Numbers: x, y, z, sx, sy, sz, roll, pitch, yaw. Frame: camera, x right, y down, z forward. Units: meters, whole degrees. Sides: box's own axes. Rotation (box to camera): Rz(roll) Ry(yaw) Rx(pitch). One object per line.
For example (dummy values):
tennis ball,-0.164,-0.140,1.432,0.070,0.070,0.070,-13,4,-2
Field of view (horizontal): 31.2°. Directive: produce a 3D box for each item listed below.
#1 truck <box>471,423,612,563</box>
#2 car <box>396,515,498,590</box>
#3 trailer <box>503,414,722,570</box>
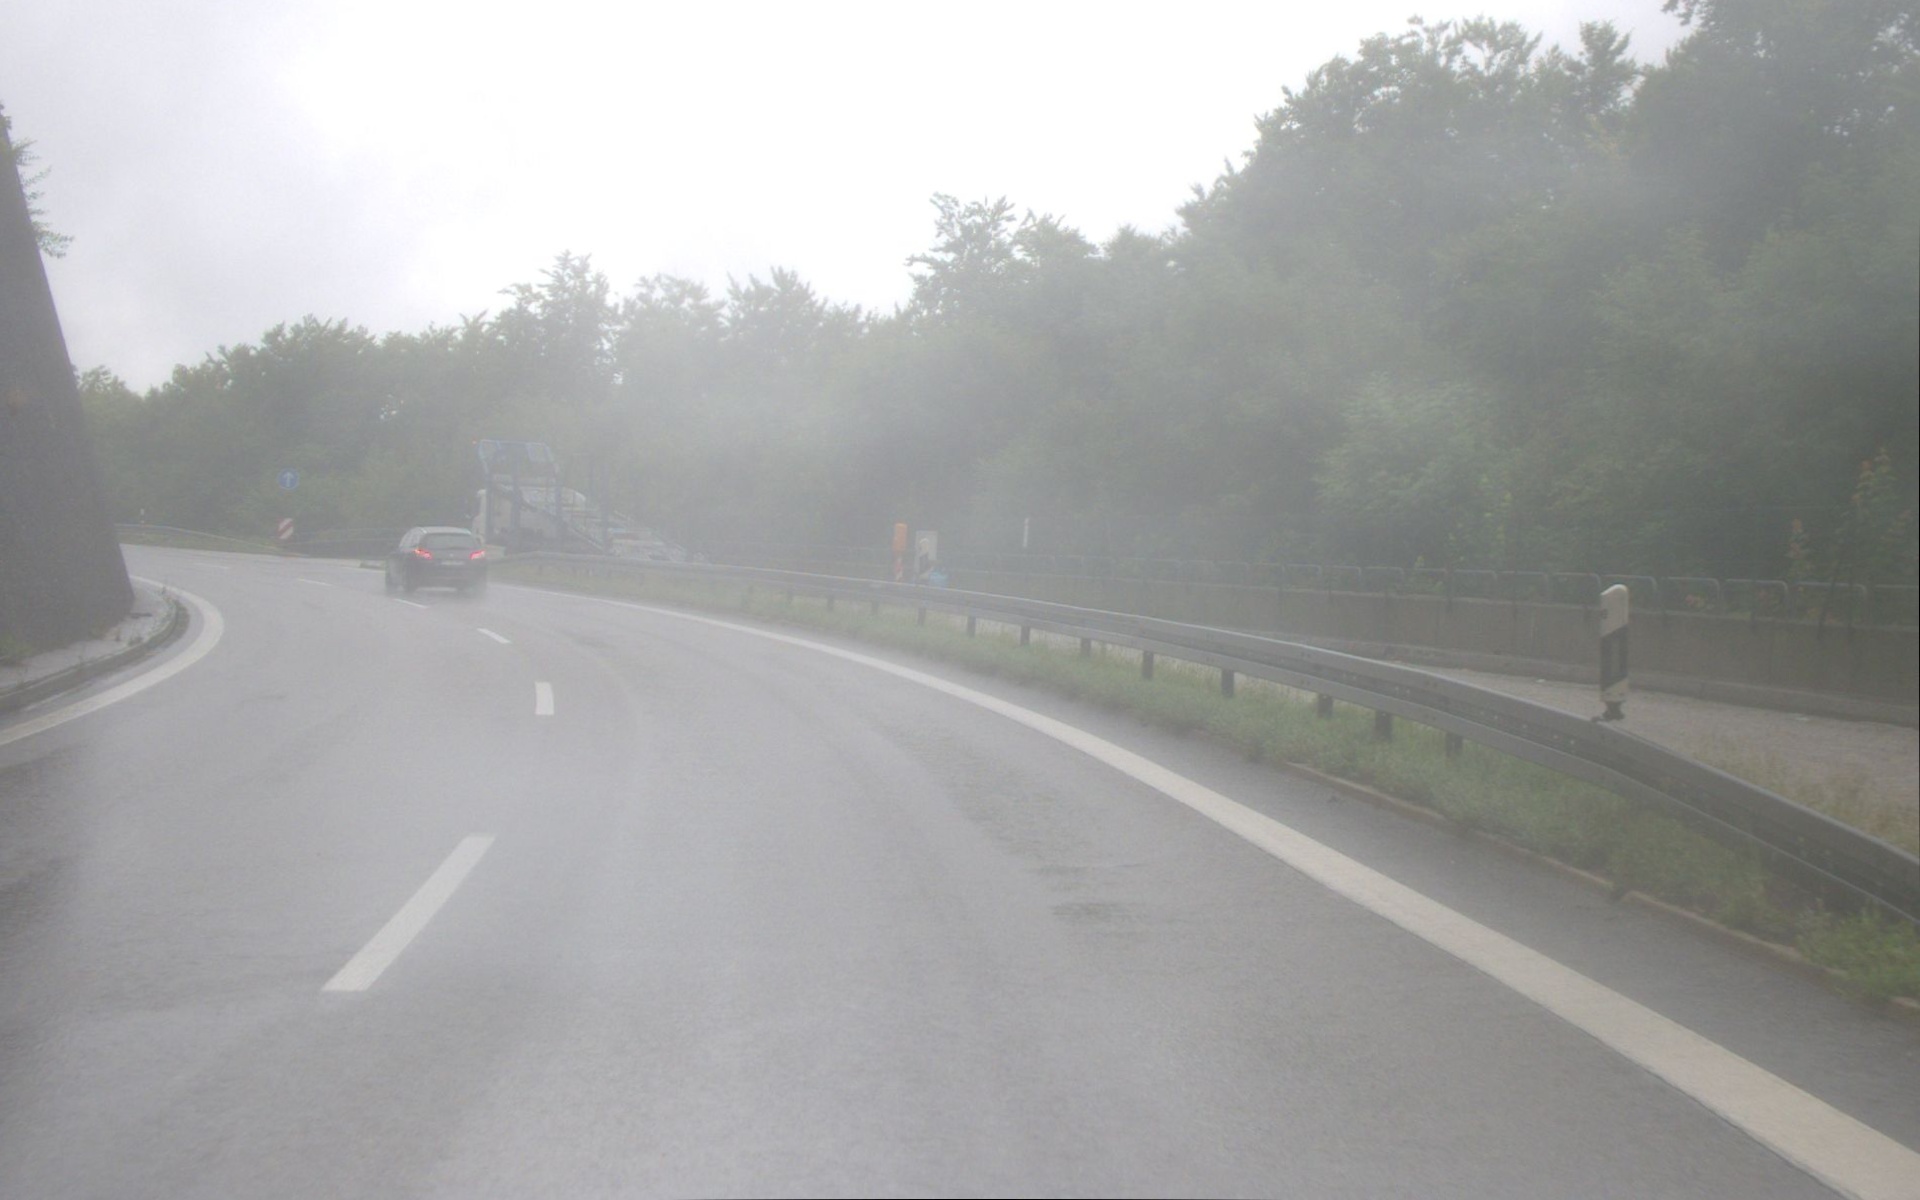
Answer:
truck,-13.378,-3.388,109.489,2.895,4.230,6.883,1,1,-20
car,-11.352,-1.069,75.889,1.903,1.494,4.001,3,1,-12
trailer,-10.462,-3.150,101.418,2.891,4.230,14.702,1,1,-20
